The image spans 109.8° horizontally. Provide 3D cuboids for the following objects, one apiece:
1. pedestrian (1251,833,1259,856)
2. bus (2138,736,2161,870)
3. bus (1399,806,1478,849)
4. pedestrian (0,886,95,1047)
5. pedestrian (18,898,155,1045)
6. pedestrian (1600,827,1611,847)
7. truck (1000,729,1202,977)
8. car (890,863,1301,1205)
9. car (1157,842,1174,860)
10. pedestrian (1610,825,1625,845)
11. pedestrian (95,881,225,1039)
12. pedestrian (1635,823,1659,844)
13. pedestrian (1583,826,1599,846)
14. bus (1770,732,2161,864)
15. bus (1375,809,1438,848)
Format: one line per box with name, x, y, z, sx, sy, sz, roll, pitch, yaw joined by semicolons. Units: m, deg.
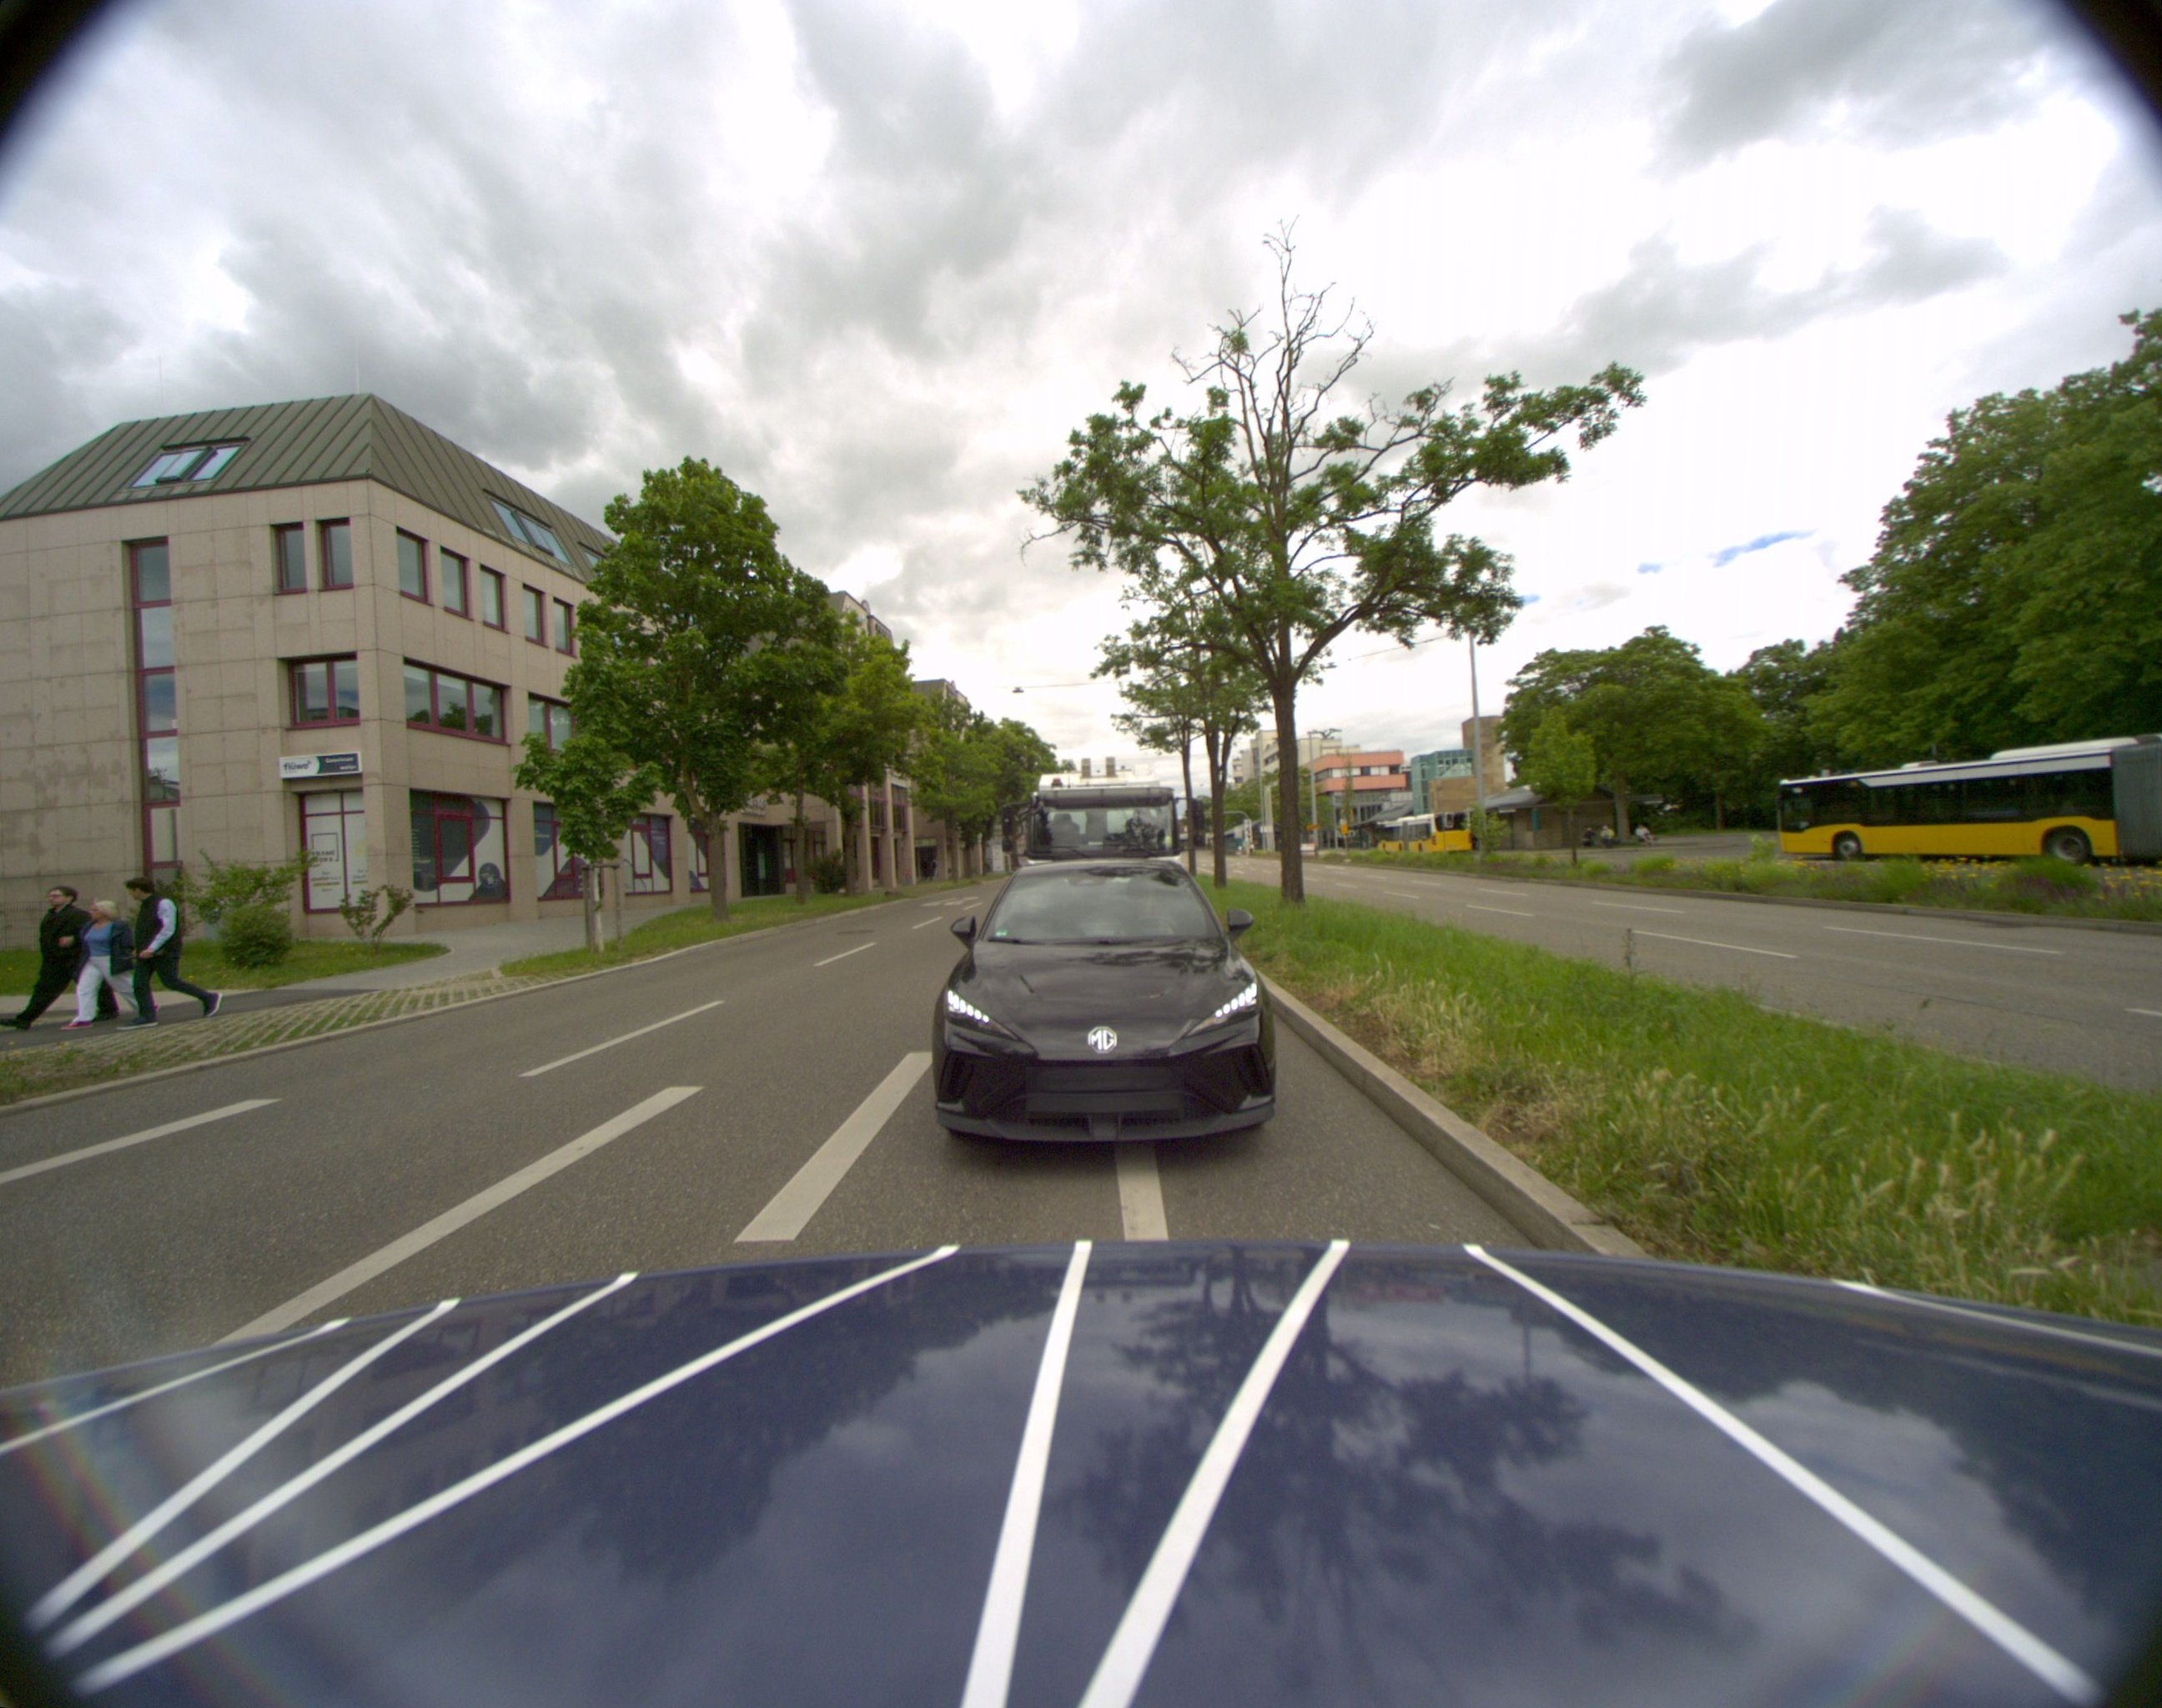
pedestrian;21.878;-1.211;95.548;0.903;2.772;1.148;-2;1;13
bus;25.090;-1.162;13.200;2.888;2.985;7.885;-3;0;6
bus;26.265;-1.862;56.358;2.887;2.793;9.181;-3;0;10
pedestrian;-12.497;1.309;9.000;0.642;1.795;0.677;-3;1;1
pedestrian;-11.892;1.377;9.111;0.642;1.637;0.677;-3;1;1
pedestrian;30.334;-0.972;43.936;0.367;1.160;0.899;-2;1;27
truck;0.333;-0.026;13.795;2.544;3.187;7.368;-3;0;1
car;0.100;0.860;5.493;1.827;1.430;4.000;-3;0;1
car;9.714;-0.323;87.649;1.726;2.002;4.001;-3;0;3
pedestrian;30.840;-1.087;43.666;0.598;1.155;0.744;-2;1;27
pedestrian;-11.147;1.256;9.218;0.642;1.795;0.677;-3;1;1
pedestrian;32.117;-1.165;43.122;0.650;1.165;0.925;-2;1;1
pedestrian;30.869;-1.073;45.977;0.598;1.155;0.743;-2;1;20
bus;25.989;-1.364;22.303;2.888;2.985;10.397;-3;0;6
bus;27.637;-2.077;65.011;2.887;2.985;9.182;-3;0;10
